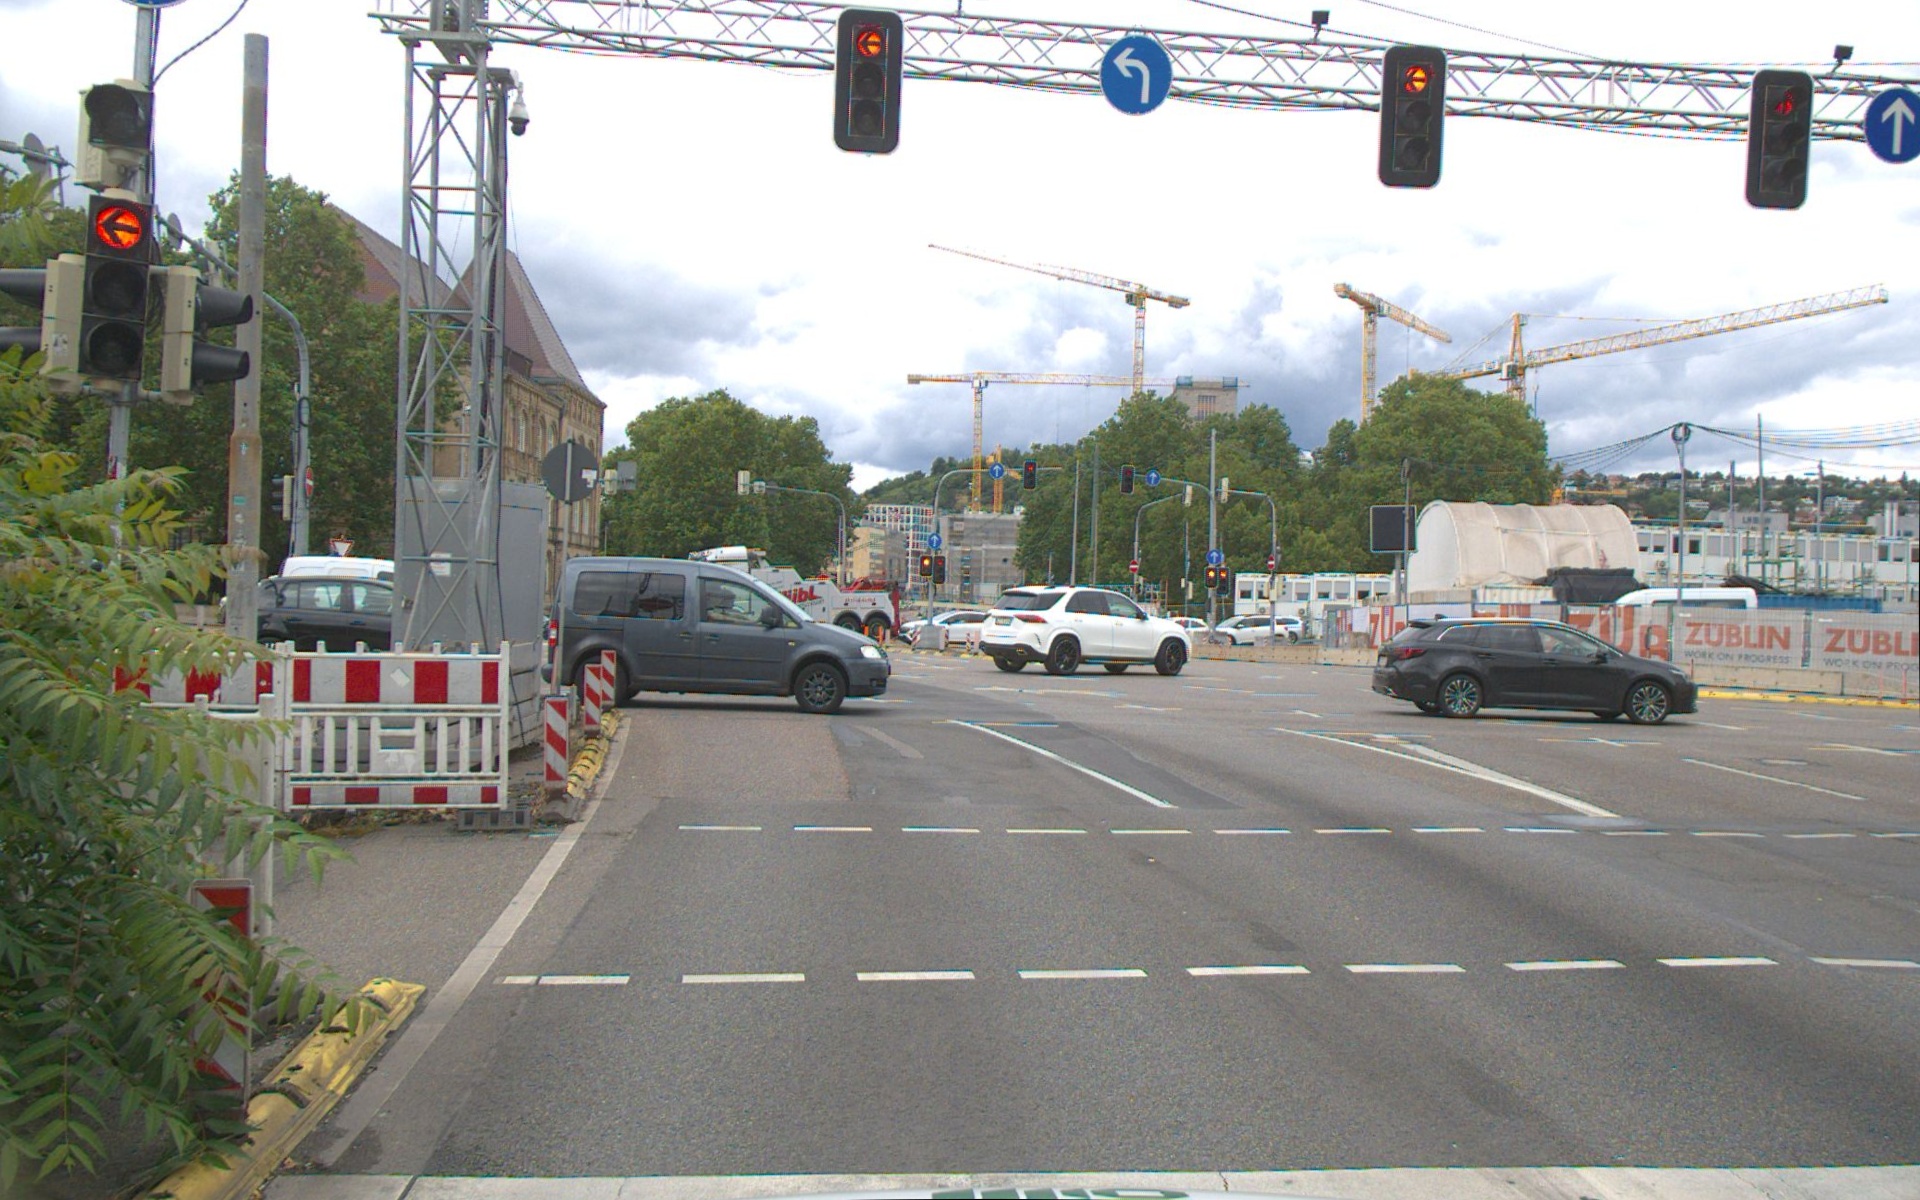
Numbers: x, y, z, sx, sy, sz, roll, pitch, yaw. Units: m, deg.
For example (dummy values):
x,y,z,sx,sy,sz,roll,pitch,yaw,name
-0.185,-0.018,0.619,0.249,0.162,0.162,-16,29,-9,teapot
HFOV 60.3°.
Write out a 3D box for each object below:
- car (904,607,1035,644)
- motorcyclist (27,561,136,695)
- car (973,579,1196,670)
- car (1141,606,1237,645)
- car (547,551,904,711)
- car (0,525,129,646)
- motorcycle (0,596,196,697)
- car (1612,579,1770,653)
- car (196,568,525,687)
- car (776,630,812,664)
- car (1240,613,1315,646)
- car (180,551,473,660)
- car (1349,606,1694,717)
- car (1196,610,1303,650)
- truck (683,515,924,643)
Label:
x,y,z,sx,sy,sz,roll,pitch,yaw,name
0.395,1.081,69.135,5.066,1.444,2.220,1,0,-24,car
-10.735,0.339,20.228,0.860,1.598,0.817,1,-1,0,motorcyclist
2.642,0.511,34.571,4.455,1.790,1.974,1,0,-37,car
10.752,1.184,77.759,4.093,1.754,1.894,1,0,-24,car
-2.823,0.384,20.718,4.183,1.837,1.999,1,-1,-2,car
-16.186,-0.278,27.047,4.156,1.865,2.001,1,3,0,car
-10.729,0.560,20.228,2.373,1.175,0.817,1,0,0,motorcycle
21.059,0.449,47.822,3.902,2.049,2.001,1,0,15,car
-8.534,0.388,23.855,4.026,1.574,1.998,1,0,-5,car
-9.778,2.740,97.673,1.954,1.870,3.997,1,0,-3,car
17.071,1.586,88.860,3.868,1.702,1.920,1,0,13,car
-11.522,0.104,30.345,4.613,1.865,1.869,1,0,-3,car
8.141,0.867,24.311,4.397,1.492,2.000,1,0,1,car
13.171,1.375,75.181,4.524,1.754,1.894,1,0,-24,car
-6.521,-0.788,69.353,9.584,5.047,3.091,1,-1,-24,truck
